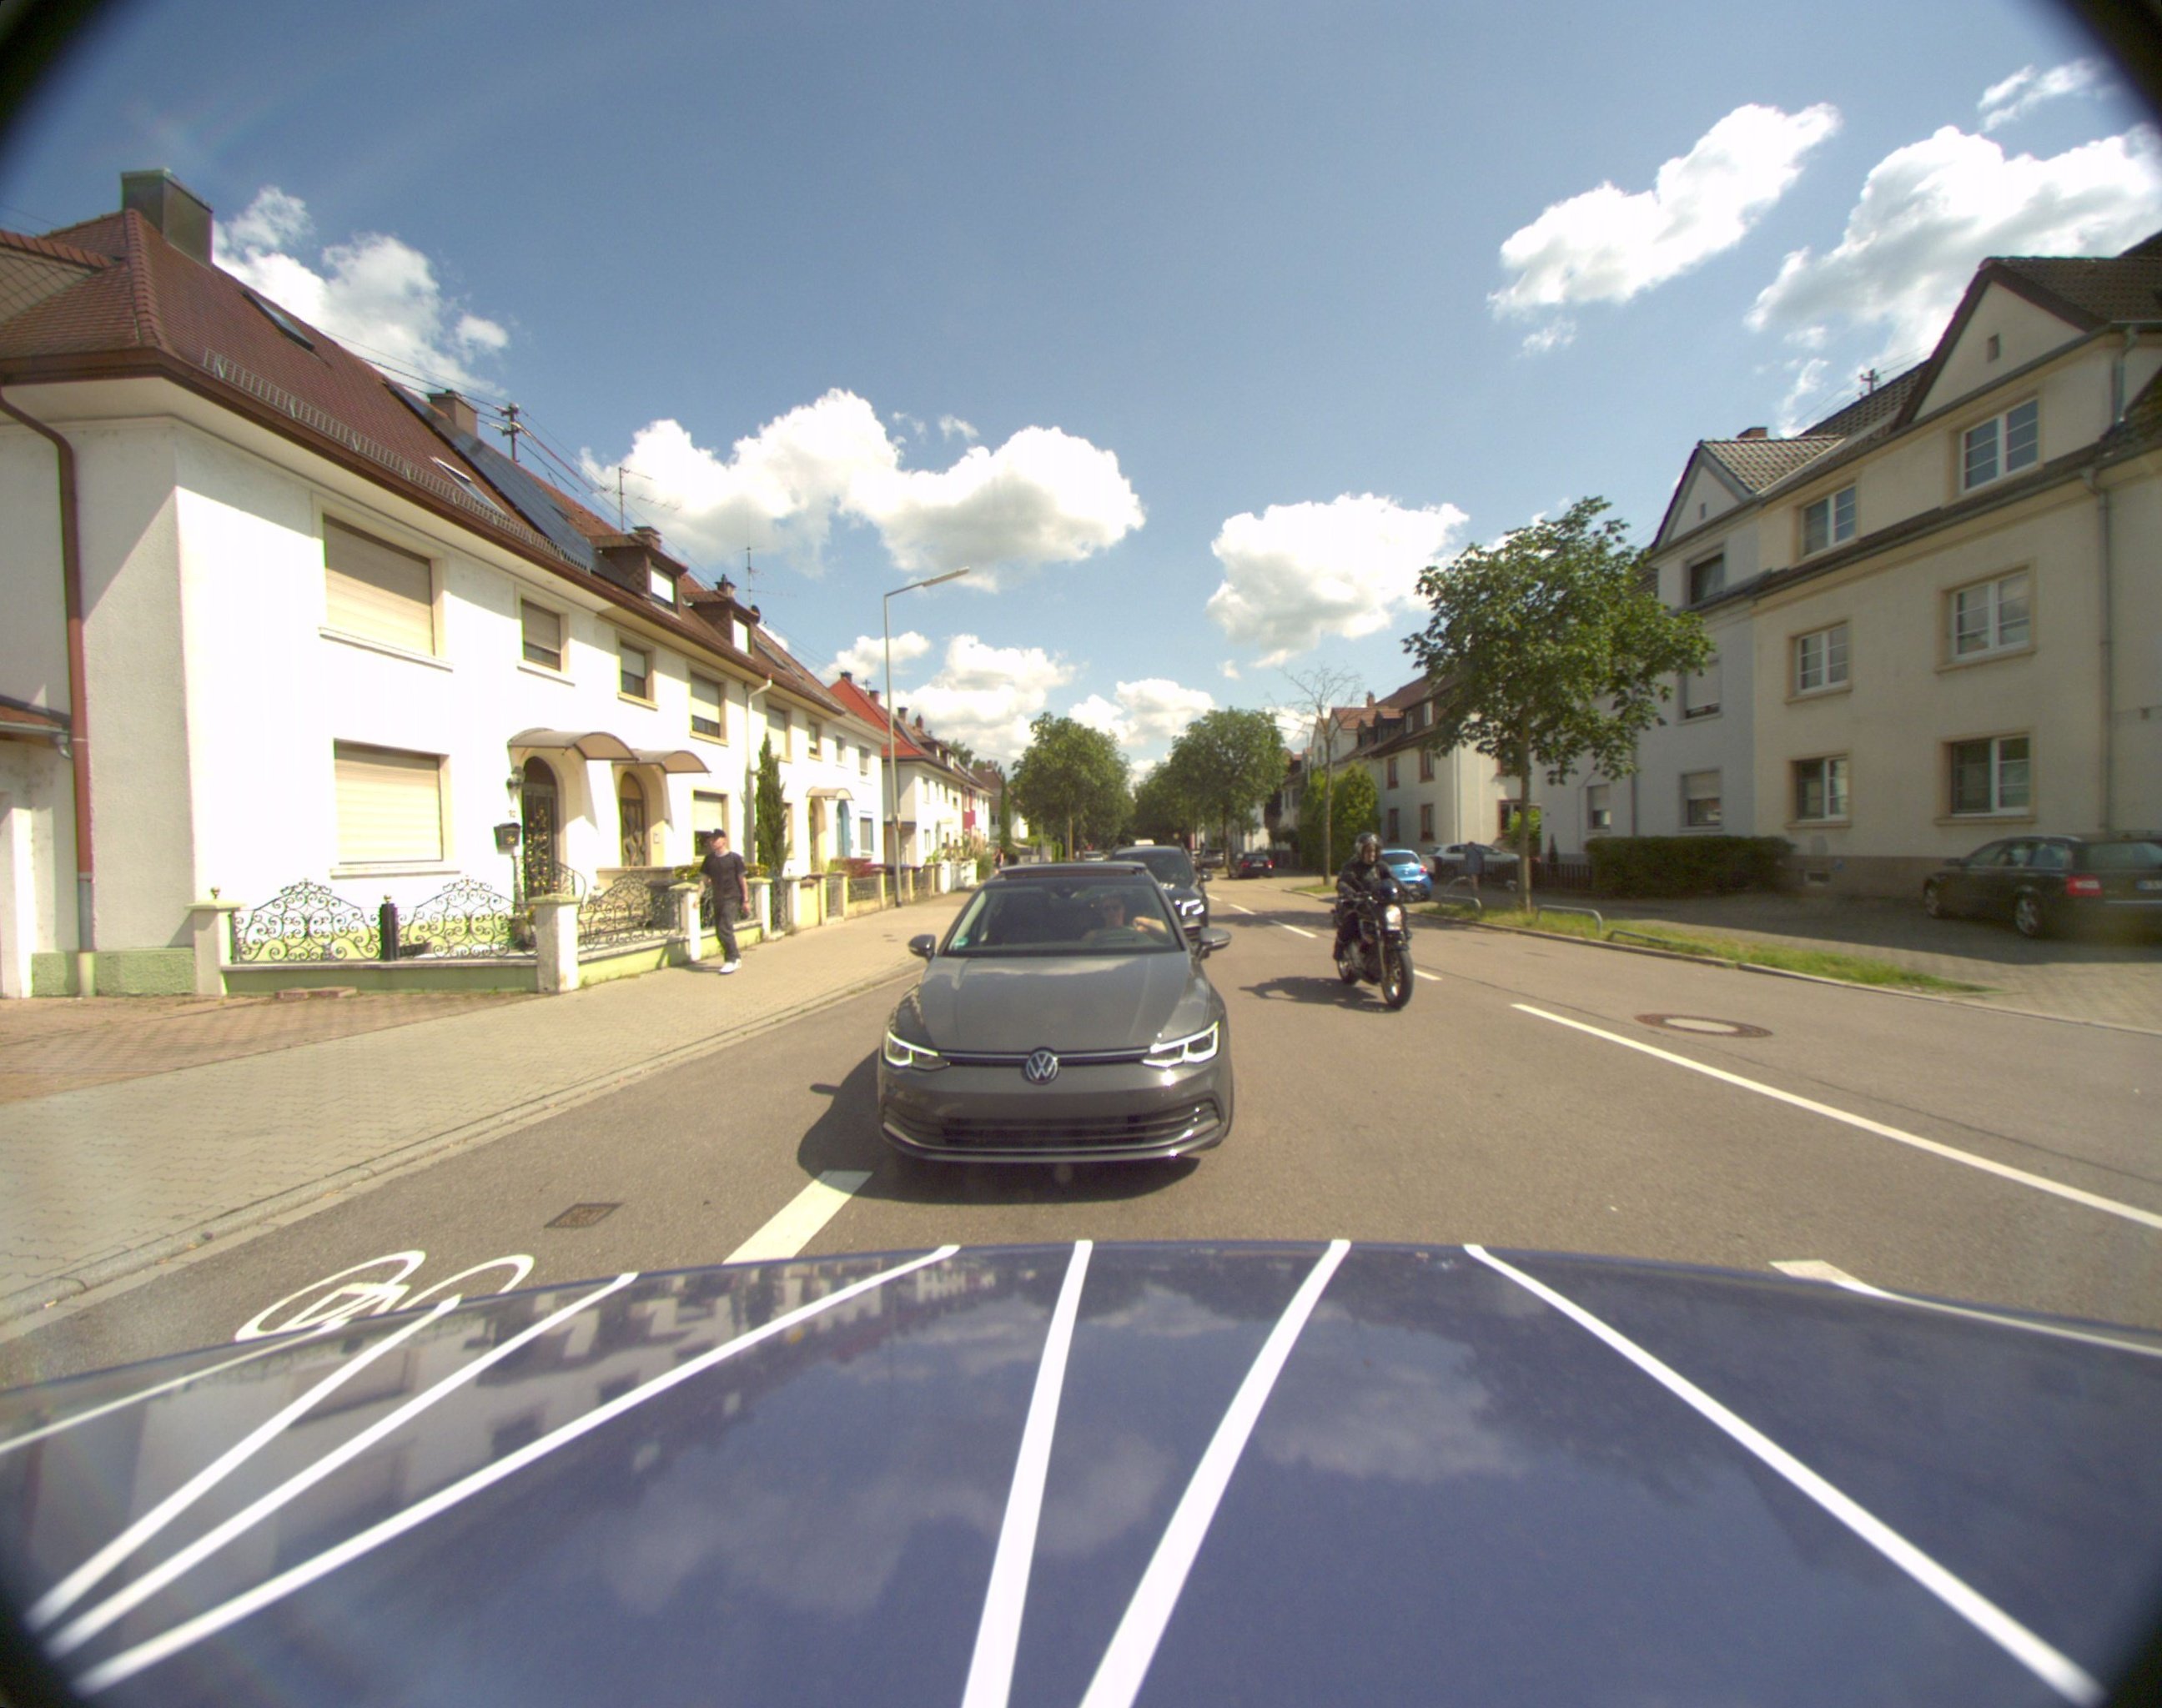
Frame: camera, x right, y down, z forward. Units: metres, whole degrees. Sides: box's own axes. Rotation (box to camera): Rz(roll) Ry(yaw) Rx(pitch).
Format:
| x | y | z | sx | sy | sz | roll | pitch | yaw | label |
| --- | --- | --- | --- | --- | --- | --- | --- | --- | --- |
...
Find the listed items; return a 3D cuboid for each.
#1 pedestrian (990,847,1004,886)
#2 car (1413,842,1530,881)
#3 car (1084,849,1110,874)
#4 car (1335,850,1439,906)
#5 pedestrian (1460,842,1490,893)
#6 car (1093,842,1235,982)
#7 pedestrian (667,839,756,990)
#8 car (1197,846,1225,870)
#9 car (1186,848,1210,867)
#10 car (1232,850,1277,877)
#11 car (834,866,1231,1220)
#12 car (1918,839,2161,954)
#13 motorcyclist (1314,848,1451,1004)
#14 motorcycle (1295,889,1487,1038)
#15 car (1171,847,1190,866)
| x | y | z | sx | sy | sz | roll | pitch | yaw | label |
| --- | --- | --- | --- | --- | --- | --- | --- | --- | --- |
| -3.674 | 0.535 | 33.261 | 0.519 | 1.701 | 0.618 | -1 | 1 | 2 | pedestrian |
| 15.638 | 0.287 | 30.584 | 3.805 | 1.446 | 1.711 | -1 | 1 | 4 | car |
| 1.079 | 0.477 | 49.965 | 1.381 | 1.493 | 3.002 | -2 | 0 | 6 | car |
| 8.628 | 0.623 | 21.656 | 1.709 | 1.454 | 3.154 | -1 | 0 | 1 | car |
| 12.183 | 0.409 | 23.511 | 0.631 | 1.527 | 0.618 | -1 | 1 | 6 | pedestrian |
| 1.117 | 0.721 | 12.115 | 1.776 | 1.754 | 4.874 | -1 | 0 | 1 | car |
| -4.494 | 0.703 | 9.305 | 0.592 | 1.757 | 0.937 | -1 | 1 | 1 | pedestrian |
| 9.124 | 0.255 | 53.435 | 1.562 | 1.645 | 3.574 | -1 | 0 | 4 | car |
| 9.133 | 0.273 | 59.460 | 1.623 | 1.417 | 3.002 | -2 | 0 | 6 | car |
| 8.957 | 0.463 | 39.493 | 1.709 | 1.289 | 3.918 | -1 | 0 | 4 | car |
| -0.249 | 0.893 | 5.784 | 1.766 | 1.465 | 4.686 | -1 | 0 | -1 | car |
| 14.245 | 0.499 | 10.996 | 1.757 | 1.378 | 4.110 | -1 | 1 | 31 | car |
| 2.937 | 0.679 | 7.527 | 0.825 | 1.390 | 1.100 | -3 | -2 | -3 | motorcyclist |
| 2.943 | 0.975 | 7.577 | 0.843 | 1.121 | 2.358 | -1 | 0 | -3 | motorcycle |
| 8.944 | 0.219 | 68.502 | 1.562 | 1.645 | 3.252 | -1 | 0 | 4 | car |
